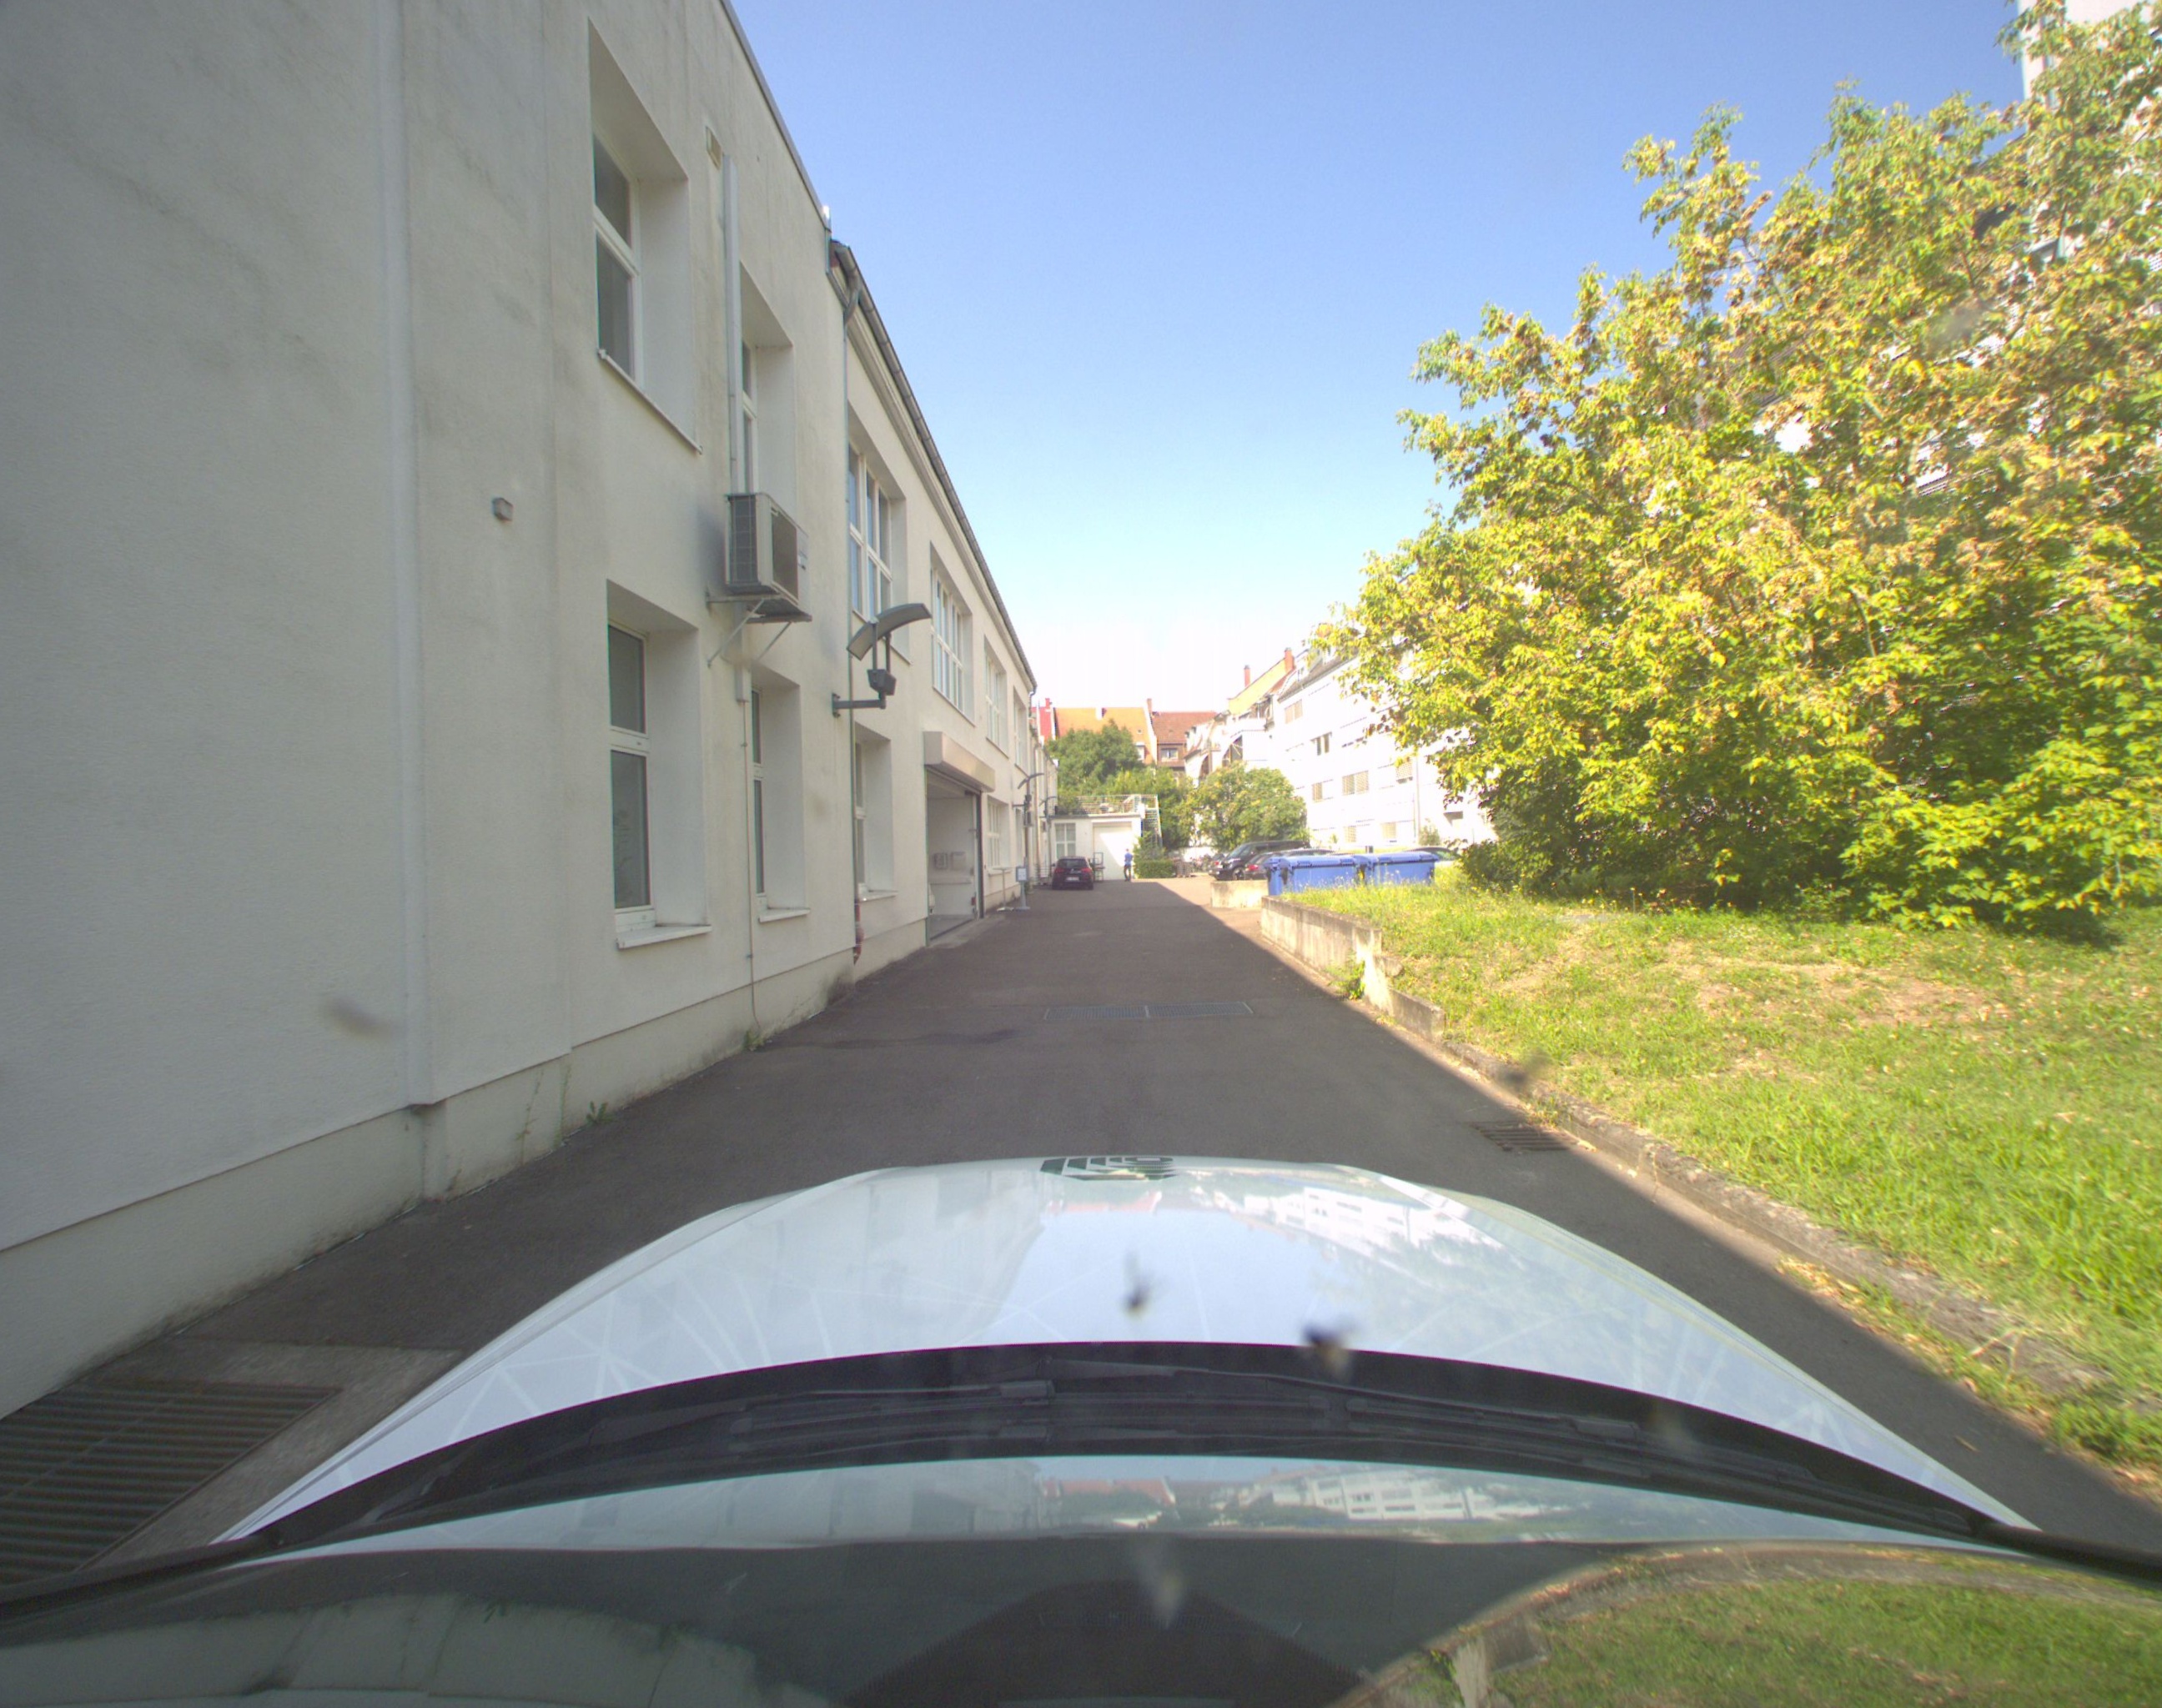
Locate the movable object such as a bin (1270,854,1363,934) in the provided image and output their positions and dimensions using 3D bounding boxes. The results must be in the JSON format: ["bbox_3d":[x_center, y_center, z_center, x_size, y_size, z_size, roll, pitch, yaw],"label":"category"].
[{"bbox_3d":[4.152,0.687,14.483,1.305,1.340,1.099,-1,-1,-1],"label":"movable object such as a bin"}]

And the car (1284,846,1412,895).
[{"bbox_3d":[9.287,0.577,28.472,3.796,1.589,1.892,-1,-1,-8],"label":"car"}]

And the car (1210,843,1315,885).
[{"bbox_3d":[8.582,0.474,38.728,4.497,1.794,1.878,-2,-1,-8],"label":"car"}]

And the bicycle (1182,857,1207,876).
[{"bbox_3d":[7.596,0.818,54.446,1.617,1.214,0.424,-2,-1,1],"label":"bicycle"}]

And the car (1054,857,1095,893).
[{"bbox_3d":[-0.264,0.886,35.809,1.682,1.459,3.923,-1,-1,0],"label":"car"}]

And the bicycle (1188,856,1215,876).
[{"bbox_3d":[7.786,0.790,52.654,1.616,1.214,0.327,-2,-1,3],"label":"bicycle"}]

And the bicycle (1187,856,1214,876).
[{"bbox_3d":[7.769,0.794,52.948,1.616,1.214,0.327,-2,-1,3],"label":"bicycle"}]

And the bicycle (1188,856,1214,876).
[{"bbox_3d":[7.708,0.787,52.334,1.616,1.214,0.327,-2,-1,3],"label":"bicycle"}]

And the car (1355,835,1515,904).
[{"bbox_3d":[9.875,0.434,22.896,3.608,1.545,1.802,-5,-1,0],"label":"car"}]

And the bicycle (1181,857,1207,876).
[{"bbox_3d":[7.723,0.833,55.680,1.619,1.214,0.423,-2,-1,-3],"label":"bicycle"}]

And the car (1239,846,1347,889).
[{"bbox_3d":[8.942,0.577,34.510,4.105,1.692,1.770,-1,-1,-1],"label":"car"}]

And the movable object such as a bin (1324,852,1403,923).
[{"bbox_3d":[5.575,0.649,16.159,1.228,1.340,1.118,-1,-1,5],"label":"movable object such as a bin"}]

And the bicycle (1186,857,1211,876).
[{"bbox_3d":[7.758,0.805,53.765,1.611,1.214,0.328,-2,-1,14],"label":"bicycle"}]

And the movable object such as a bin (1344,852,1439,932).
[{"bbox_3d":[5.478,0.662,14.442,1.223,1.340,1.075,-1,-1,-3],"label":"movable object such as a bin"}]

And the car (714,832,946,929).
[{"bbox_3d":[-5.737,0.603,19.063,4.728,2.093,2.056,-1,-1,2],"label":"car"}]

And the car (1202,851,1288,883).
[{"bbox_3d":[8.364,0.678,41.618,3.929,1.482,1.770,-2,-1,-8],"label":"car"}]

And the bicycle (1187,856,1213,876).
[{"bbox_3d":[7.821,0.799,53.398,1.612,1.214,0.328,-2,-1,11],"label":"bicycle"}]

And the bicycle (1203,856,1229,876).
[{"bbox_3d":[8.818,0.779,53.272,1.610,1.214,0.328,-2,-1,16],"label":"bicycle"}]

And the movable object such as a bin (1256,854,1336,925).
[{"bbox_3d":[4.256,0.691,16.234,1.295,1.340,1.195,-1,-1,1],"label":"movable object such as a bin"}]

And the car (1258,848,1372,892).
[{"bbox_3d":[9.029,0.616,31.685,3.853,1.589,1.877,-1,-1,-4],"label":"car"}]

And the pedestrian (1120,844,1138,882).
[{"bbox_3d":[2.591,0.488,43.702,0.910,2.014,0.935,-1,-1,2],"label":"pedestrian"}]
